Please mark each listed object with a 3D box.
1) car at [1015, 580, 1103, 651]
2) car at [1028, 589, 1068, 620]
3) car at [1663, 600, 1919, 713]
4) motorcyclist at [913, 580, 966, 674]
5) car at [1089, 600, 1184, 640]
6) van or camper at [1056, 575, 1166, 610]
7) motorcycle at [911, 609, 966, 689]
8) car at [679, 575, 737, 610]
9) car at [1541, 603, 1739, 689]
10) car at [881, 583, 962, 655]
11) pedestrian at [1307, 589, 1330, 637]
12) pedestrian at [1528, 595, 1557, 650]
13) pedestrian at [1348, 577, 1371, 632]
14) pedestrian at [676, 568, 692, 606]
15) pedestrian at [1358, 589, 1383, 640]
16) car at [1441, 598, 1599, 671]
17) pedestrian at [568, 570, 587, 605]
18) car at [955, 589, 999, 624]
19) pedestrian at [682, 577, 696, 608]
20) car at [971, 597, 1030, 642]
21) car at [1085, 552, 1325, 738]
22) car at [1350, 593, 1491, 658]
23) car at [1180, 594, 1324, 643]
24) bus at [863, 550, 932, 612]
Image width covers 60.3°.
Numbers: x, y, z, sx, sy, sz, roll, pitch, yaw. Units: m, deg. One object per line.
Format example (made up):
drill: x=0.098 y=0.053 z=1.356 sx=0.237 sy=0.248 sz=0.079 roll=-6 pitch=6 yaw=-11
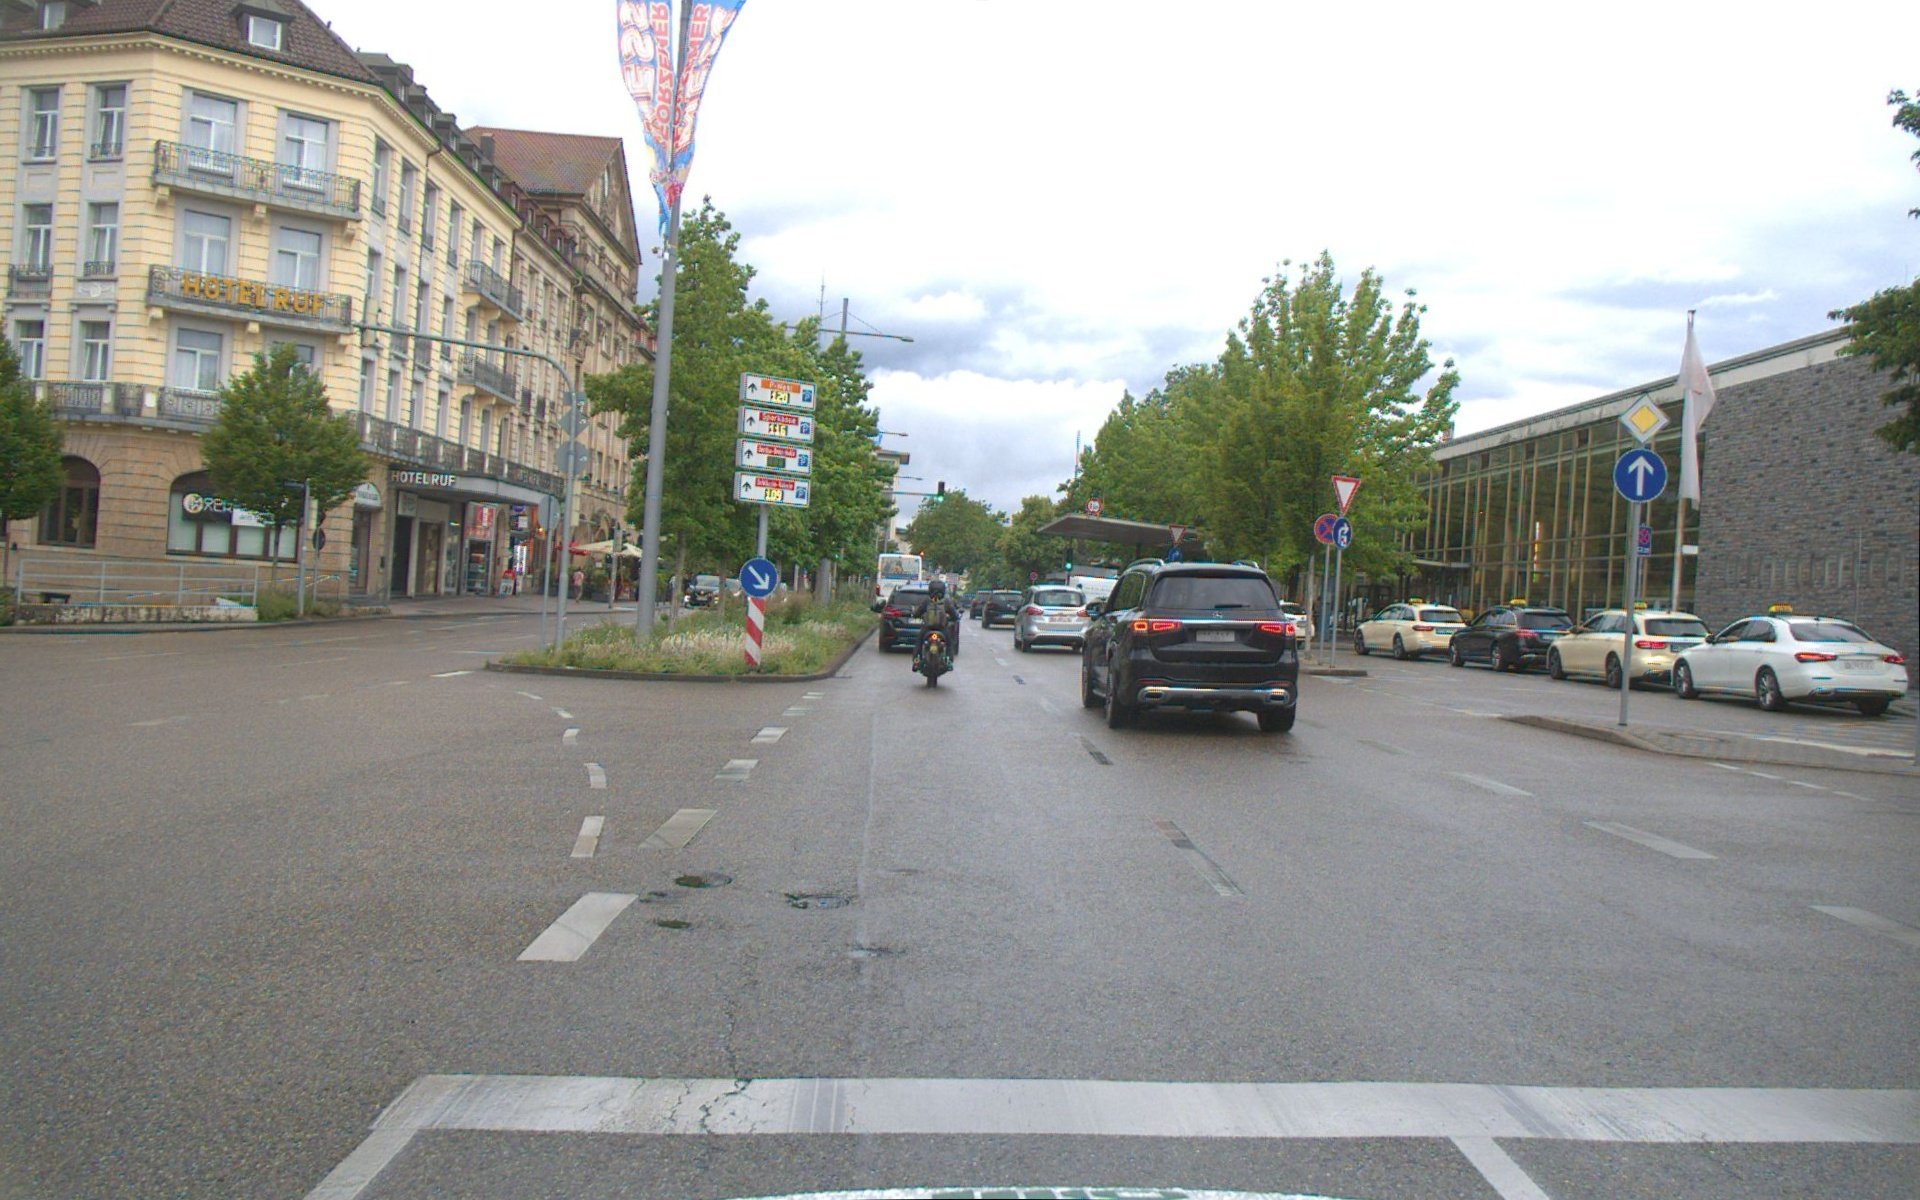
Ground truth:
car: x=2.346 y=0.337 z=40.180 sx=1.813 sy=1.594 sz=3.999 roll=1 pitch=0 yaw=-1
car: x=4.542 y=0.226 z=86.187 sx=1.779 sy=1.556 sz=3.999 roll=2 pitch=0 yaw=-1
car: x=13.337 y=0.838 z=26.798 sx=1.739 sy=1.617 sz=4.614 roll=1 pitch=0 yaw=-2
motorcyclist: x=-0.306 y=0.392 z=24.694 sx=0.749 sy=1.354 sz=0.866 roll=2 pitch=0 yaw=-1
car: x=8.865 y=1.004 z=83.128 sx=4.273 sy=1.889 sz=1.988 roll=2 pitch=0 yaw=-21
van or camper: x=9.491 y=-0.458 z=103.796 sx=6.675 sy=2.049 sz=2.364 roll=1 pitch=0 yaw=-28
motorcycle: x=-0.324 y=0.707 z=24.754 sx=0.750 sy=1.095 sz=2.175 roll=2 pitch=0 yaw=-1
car: x=-11.866 y=-0.332 z=78.033 sx=1.734 sy=1.557 sz=4.081 roll=2 pitch=0 yaw=5
car: x=13.205 y=0.838 z=32.452 sx=1.809 sy=1.477 sz=4.665 roll=1 pitch=0 yaw=-2
car: x=-0.835 y=0.394 z=36.784 sx=1.673 sy=1.473 sz=3.999 roll=1 pitch=0 yaw=-1
pedestrian: x=15.476 y=0.559 z=71.416 sx=0.754 sy=2.049 sz=0.828 roll=1 pitch=0 yaw=-3
pedestrian: x=18.014 y=0.703 z=51.174 sx=0.553 sy=1.675 sz=0.715 roll=2 pitch=0 yaw=-6
pedestrian: x=18.050 y=0.208 z=74.733 sx=0.825 sy=2.453 sz=0.862 roll=1 pitch=0 yaw=1
pedestrian: x=-15.186 y=-0.706 z=91.007 sx=0.742 sy=2.049 sz=0.832 roll=2 pitch=0 yaw=-7
pedestrian: x=16.750 y=0.574 z=67.542 sx=0.754 sy=2.049 sz=0.828 roll=1 pitch=0 yaw=-3
car: x=13.007 y=0.756 z=38.734 sx=1.875 sy=1.551 sz=4.740 roll=1 pitch=0 yaw=-3
pedestrian: x=-16.775 y=-0.549 z=72.556 sx=0.656 sy=1.537 sz=0.512 roll=1 pitch=0 yaw=-39
car: x=0.825 y=0.326 z=83.516 sx=1.775 sy=1.671 sz=3.899 roll=2 pitch=0 yaw=-5
pedestrian: x=-14.915 y=-0.419 z=91.085 sx=0.661 sy=1.731 sz=0.633 roll=0 pitch=0 yaw=-1
car: x=1.492 y=0.717 z=62.833 sx=1.775 sy=1.609 sz=3.899 roll=2 pitch=0 yaw=-5
car: x=2.648 y=0.431 z=19.001 sx=1.953 sy=1.837 sz=4.689 roll=1 pitch=1 yaw=-1
car: x=12.503 y=0.648 z=45.211 sx=1.956 sy=1.628 sz=4.815 roll=1 pitch=0 yaw=-8
car: x=9.109 y=0.559 z=51.869 sx=1.764 sy=1.409 sz=4.303 roll=1 pitch=0 yaw=-41
bus: x=-3.752 y=-1.059 z=97.344 sx=3.685 sy=3.265 sz=15.517 roll=1 pitch=0 yaw=-3
